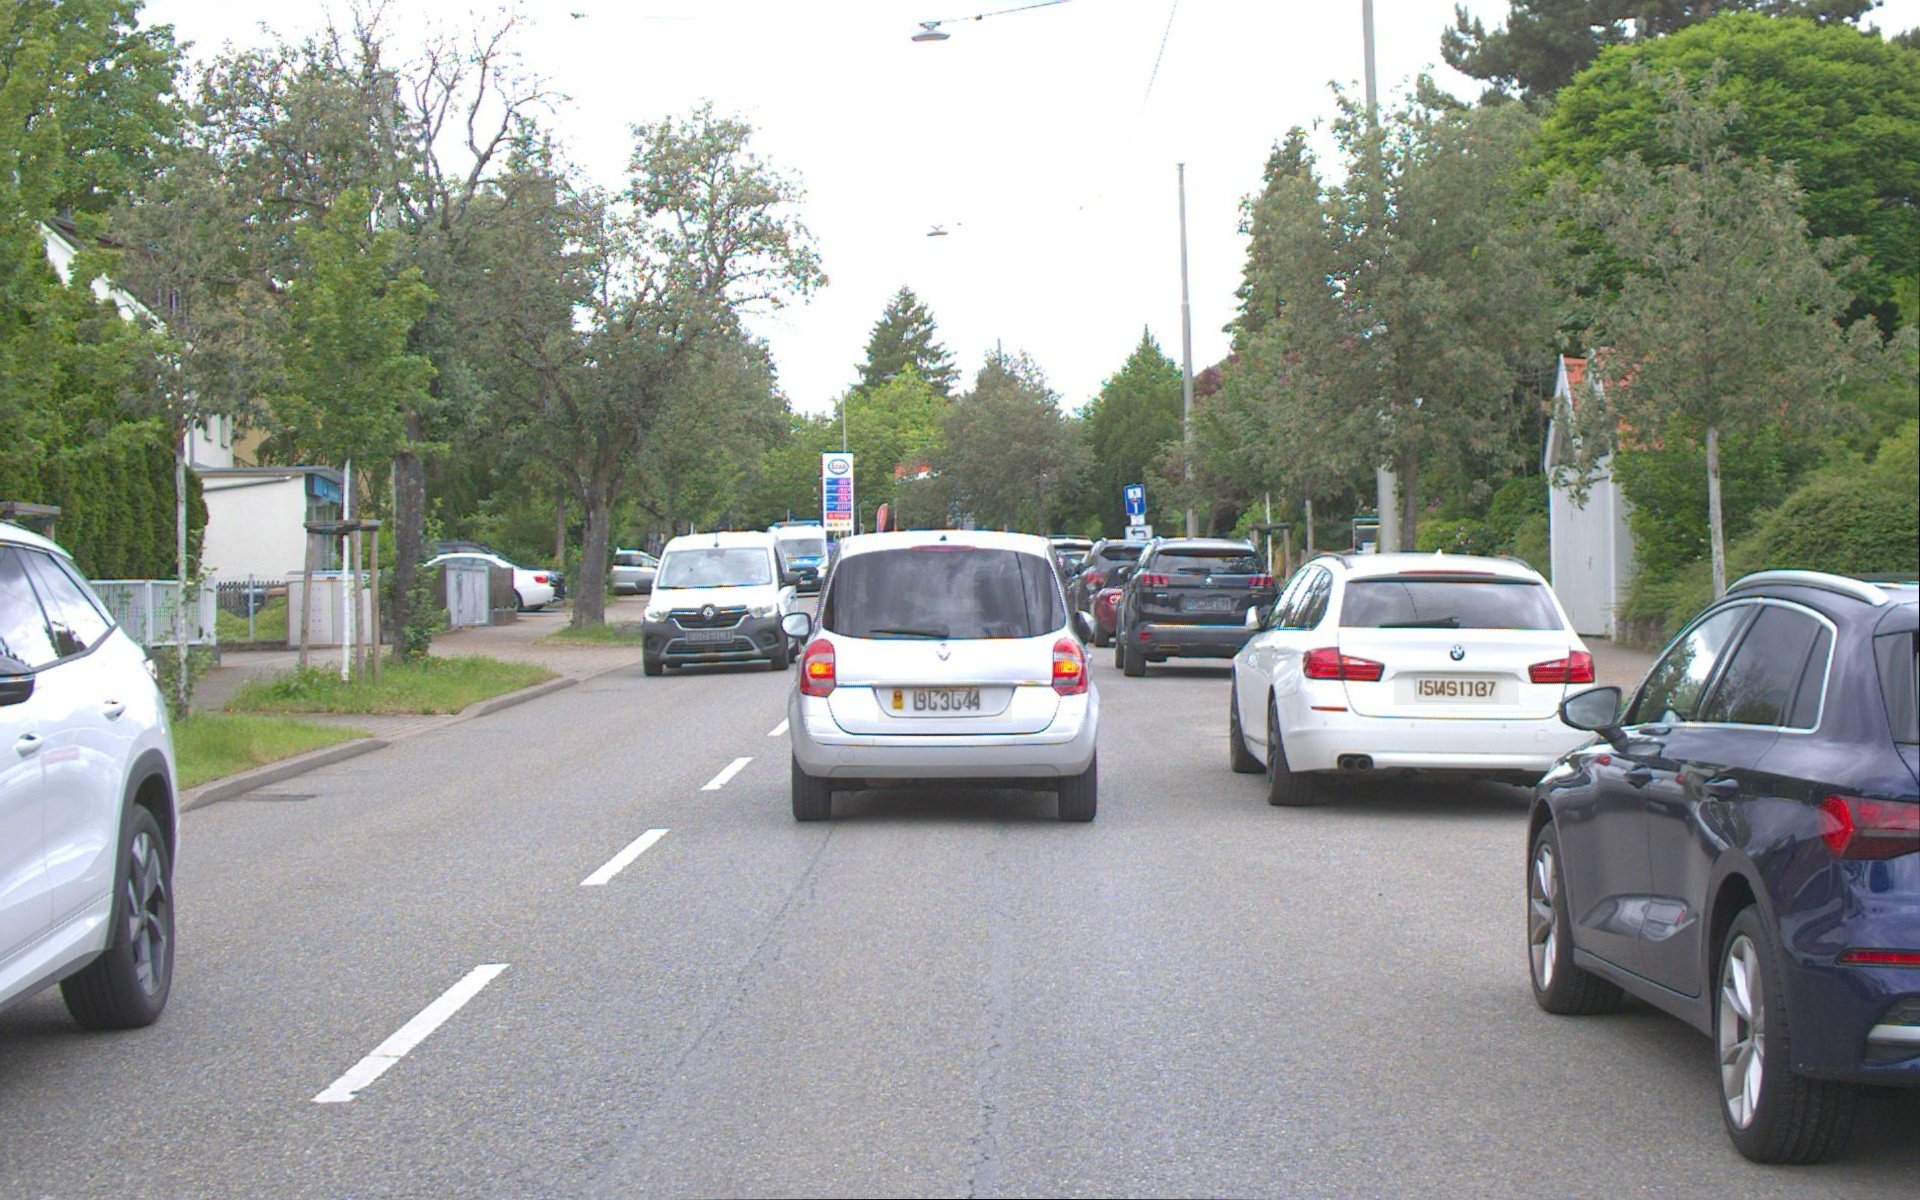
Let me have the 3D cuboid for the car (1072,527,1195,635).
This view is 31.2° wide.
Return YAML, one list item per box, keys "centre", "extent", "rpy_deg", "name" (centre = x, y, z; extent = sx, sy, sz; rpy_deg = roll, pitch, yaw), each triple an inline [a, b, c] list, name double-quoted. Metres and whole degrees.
- centre: [2.963, -0.361, 59.359]
  extent: [1.830, 1.706, 4.549]
  rpy_deg: [-3, 1, 0]
  name: "car"

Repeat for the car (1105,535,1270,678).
- centre: [2.668, 0.038, 41.017]
  extent: [1.688, 1.603, 4.109]
  rpy_deg: [1, 1, 0]
  name: "car"

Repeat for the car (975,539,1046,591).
- centre: [1.413, -1.011, 98.228]
  extent: [1.626, 1.447, 3.876]
  rpy_deg: [0, 1, -5]
  name: "car"

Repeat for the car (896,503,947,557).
- centre: [-2.157, -3.867, 190.250]
  extent: [2.281, 2.901, 5.280]
  rpy_deg: [1, 1, -6]
  name: "car"

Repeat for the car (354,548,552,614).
- centre: [-11.249, -0.425, 76.458]
  extent: [4.277, 1.363, 1.817]
  rpy_deg: [1, 0, -6]
  name: "car"

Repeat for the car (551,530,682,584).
- centre: [-11.391, -1.436, 114.137]
  extent: [4.087, 1.700, 1.747]
  rpy_deg: [2, 1, 2]
  name: "car"

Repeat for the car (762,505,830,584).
- centre: [-5.606, -1.919, 118.242]
  extent: [2.073, 2.573, 5.300]
  rpy_deg: [-3, 1, -1]
  name: "car"

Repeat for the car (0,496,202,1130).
- centre: [-3.492, 0.593, 9.466]
  extent: [1.814, 1.687, 4.466]
  rpy_deg: [-2, 1, -1]
  name: "car"

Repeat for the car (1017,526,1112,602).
- centre: [2.487, -0.876, 82.803]
  extent: [1.799, 1.772, 4.706]
  rpy_deg: [1, 1, -4]
  name: "car"

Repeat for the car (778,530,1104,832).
- centre: [-0.082, 0.394, 19.606]
  extent: [1.679, 1.554, 3.512]
  rpy_deg: [0, 1, 1]
  name: "car"

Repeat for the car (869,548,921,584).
- centre: [-2.763, -1.445, 144.913]
  extent: [1.695, 1.501, 3.974]
  rpy_deg: [-1, 1, -8]
  name: "car"

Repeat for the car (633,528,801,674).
- centre: [-3.079, -0.031, 44.302]
  extent: [1.795, 1.746, 4.299]
  rpy_deg: [-2, 1, 0]
  name: "car"

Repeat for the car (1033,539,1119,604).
- centre: [2.612, -0.665, 78.107]
  extent: [1.558, 1.438, 3.507]
  rpy_deg: [1, 1, -4]
  name: "car"

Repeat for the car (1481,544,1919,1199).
- centre: [2.668, 0.614, 9.591]
  extent: [1.665, 1.511, 4.221]
  rpy_deg: [0, 1, -2]
  name: "car"

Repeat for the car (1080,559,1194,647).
- centre: [2.676, 0.016, 52.542]
  extent: [1.481, 1.232, 3.884]
  rpy_deg: [1, 1, 0]
  name: "car"

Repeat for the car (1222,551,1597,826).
- centre: [2.621, 0.452, 20.964]
  extent: [1.693, 1.448, 4.404]
  rpy_deg: [1, 1, 0]
  name: "car"
